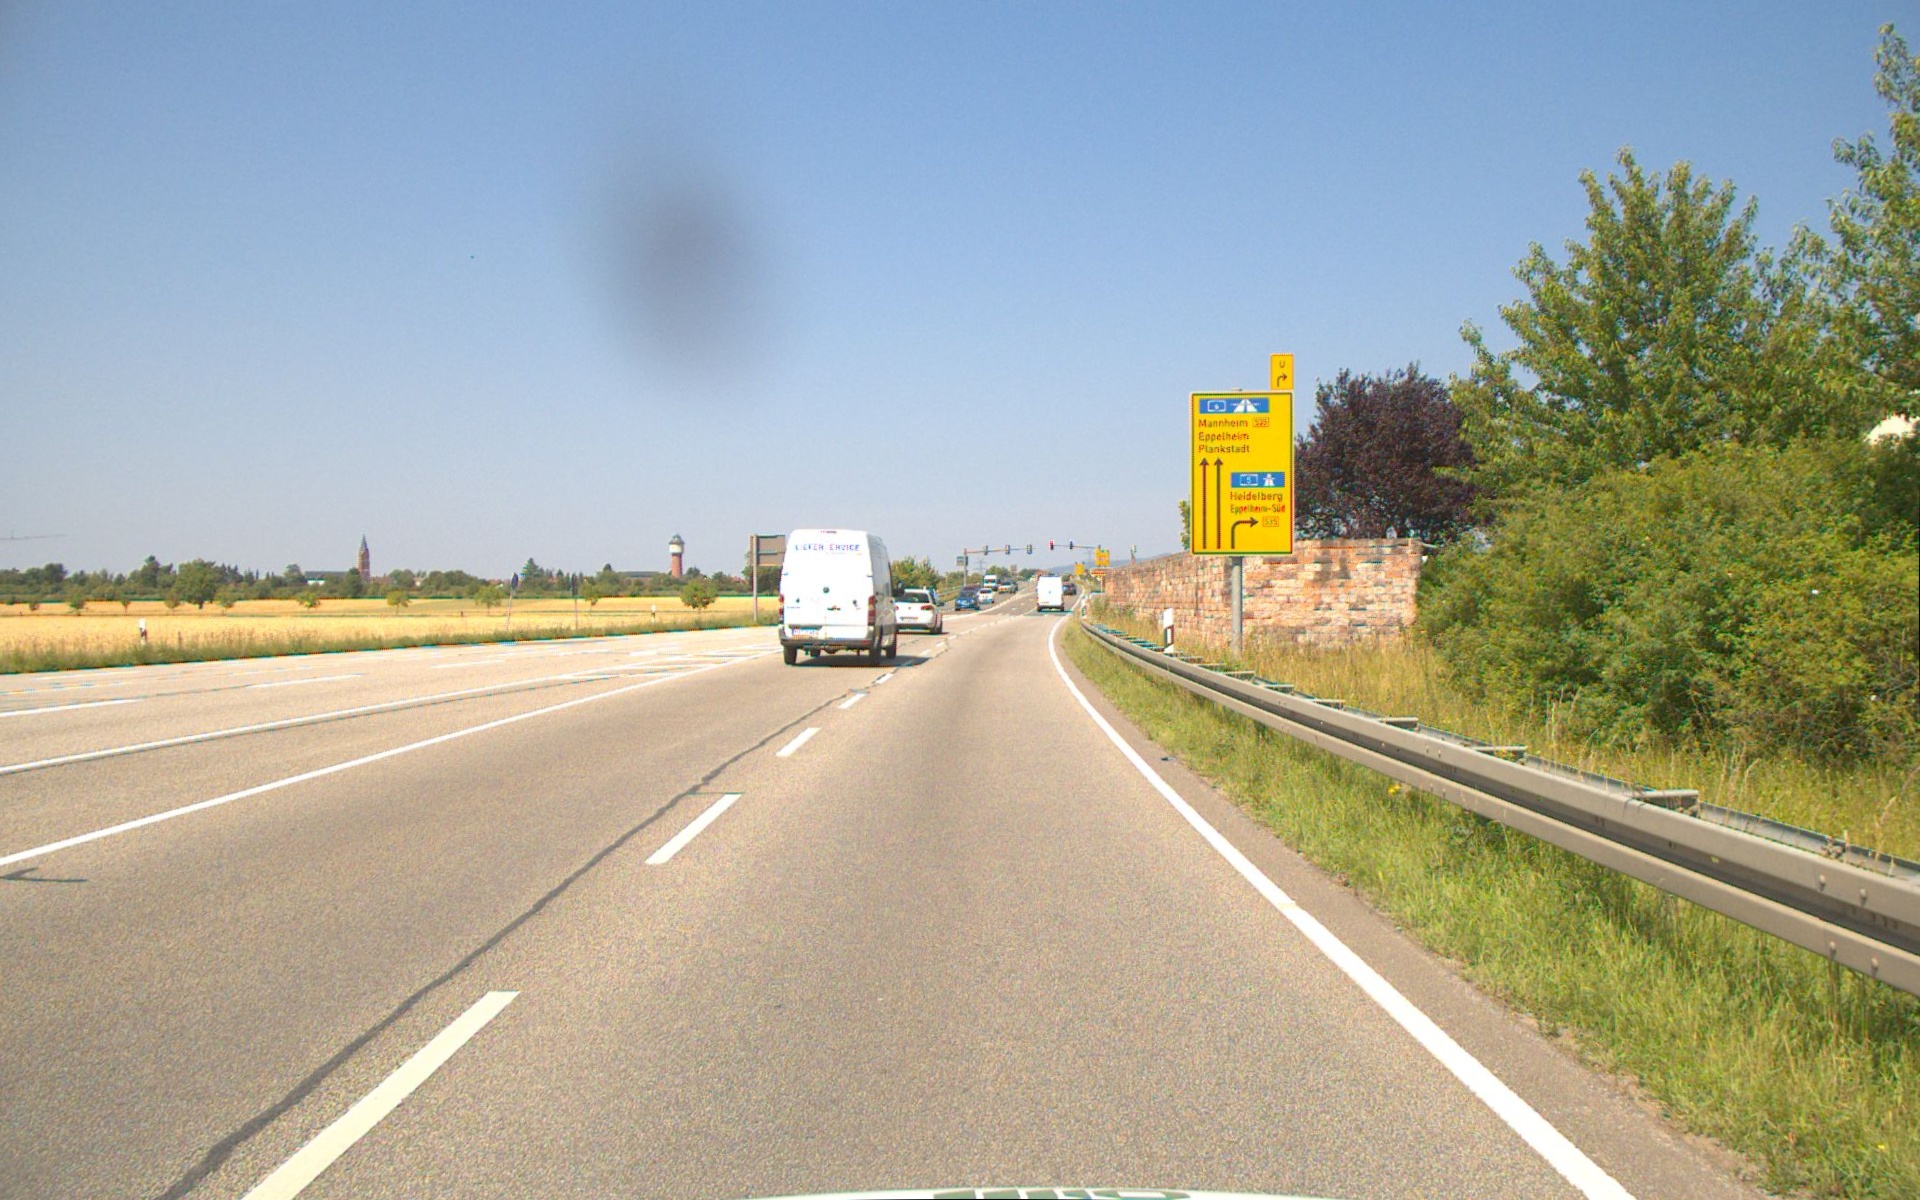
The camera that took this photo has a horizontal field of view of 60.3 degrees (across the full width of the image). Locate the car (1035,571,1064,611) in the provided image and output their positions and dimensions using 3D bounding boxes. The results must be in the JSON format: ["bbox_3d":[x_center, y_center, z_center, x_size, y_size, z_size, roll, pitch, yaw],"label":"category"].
[{"bbox_3d":[6.620,-0.649,122.042,1.952,2.742,4.971,1,-1,4],"label":"car"}]

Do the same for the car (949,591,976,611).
[{"bbox_3d":[0.206,0.084,126.365,1.712,1.467,4.084,0,0,4],"label":"car"}]

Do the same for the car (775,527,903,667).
[{"bbox_3d":[-2.425,-0.071,34.667,1.996,2.666,5.743,1,0,3],"label":"car"}]

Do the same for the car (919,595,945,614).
[{"bbox_3d":[-2.175,0.376,131.552,1.712,1.467,4.084,0,0,4],"label":"car"}]

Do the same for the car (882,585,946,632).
[{"bbox_3d":[-1.513,0.254,56.281,1.761,1.534,4.198,0,1,4],"label":"car"}]

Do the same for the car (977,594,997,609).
[{"bbox_3d":[2.675,0.155,163.353,1.712,1.467,4.083,1,0,4],"label":"car"}]

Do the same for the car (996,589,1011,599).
[{"bbox_3d":[6.161,-0.848,234.423,1.818,1.448,4.003,-1,0,5],"label":"car"}]
